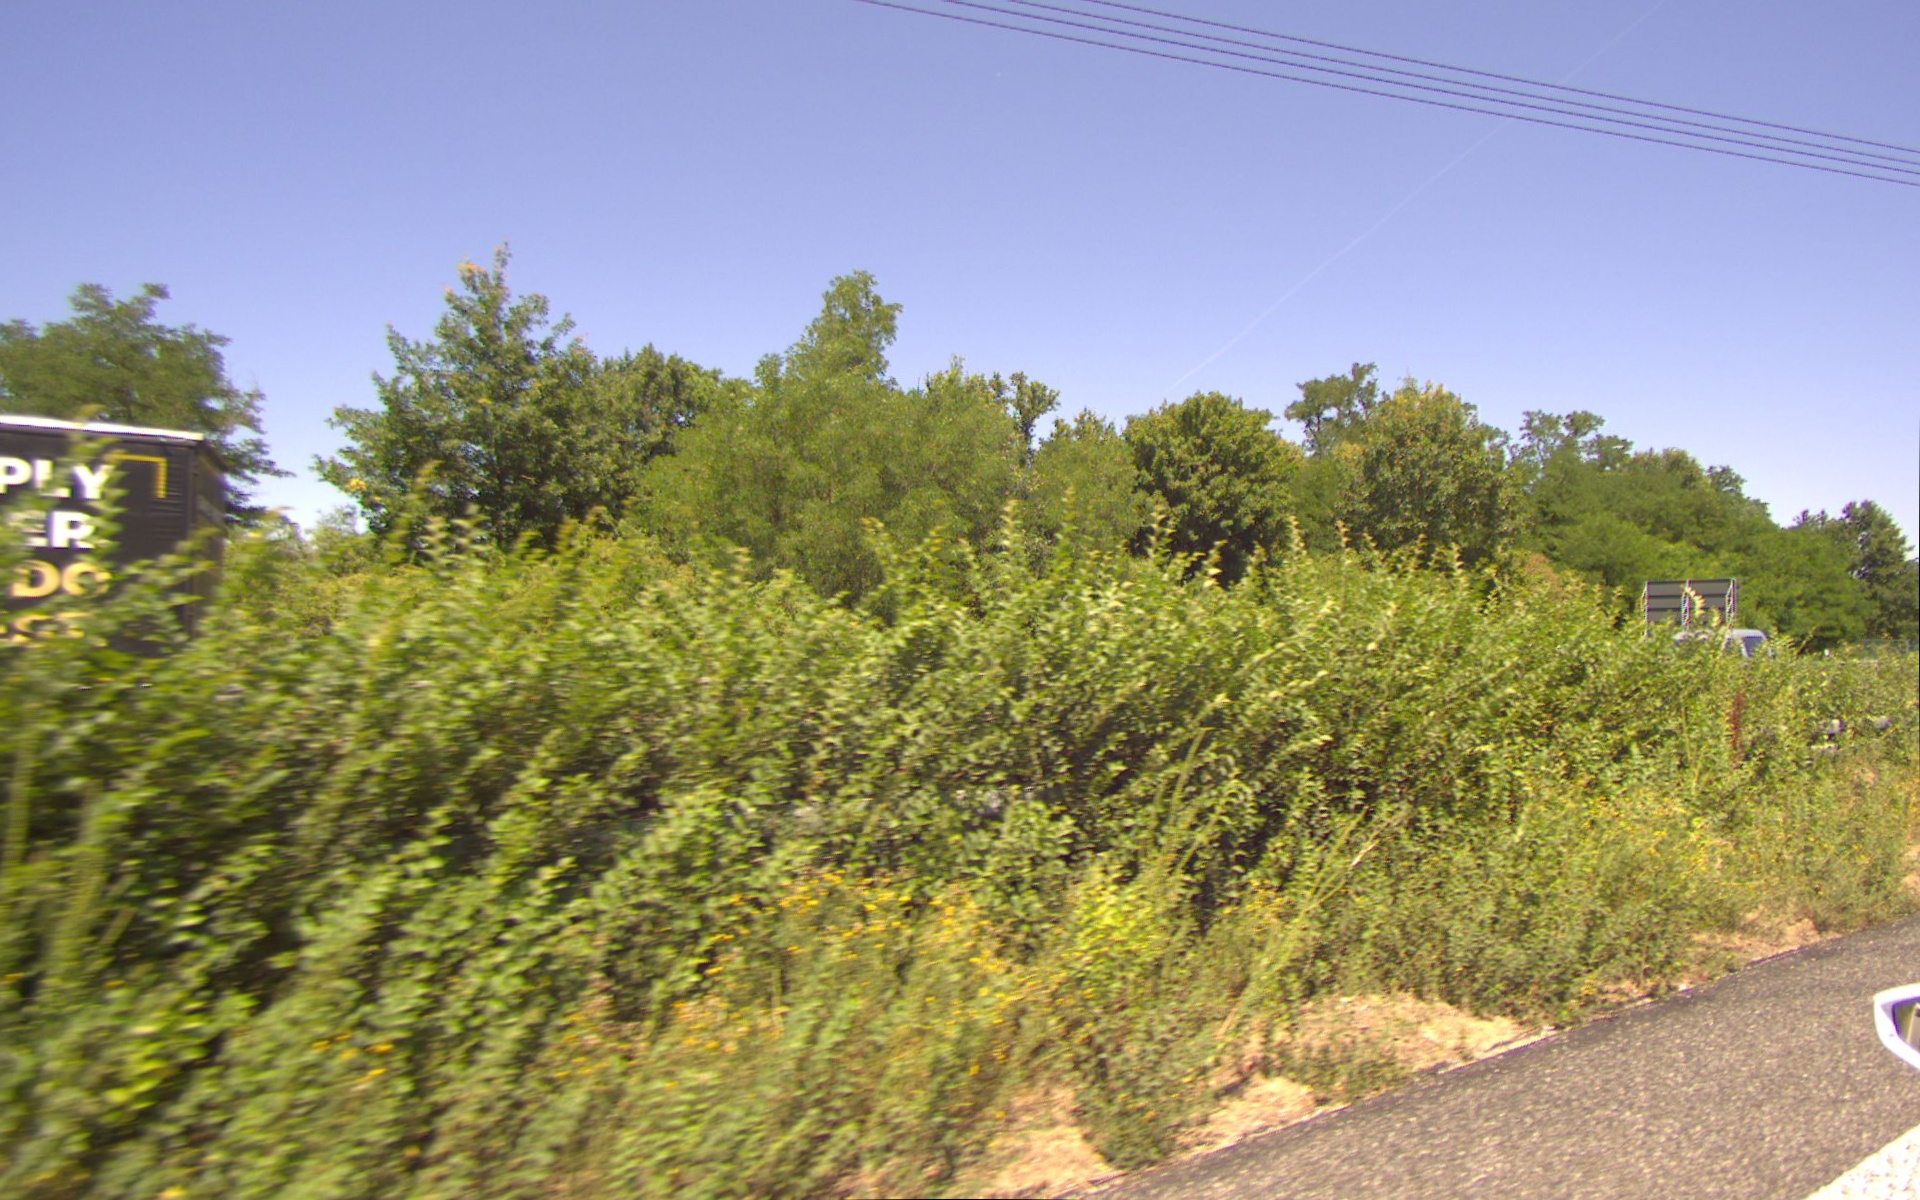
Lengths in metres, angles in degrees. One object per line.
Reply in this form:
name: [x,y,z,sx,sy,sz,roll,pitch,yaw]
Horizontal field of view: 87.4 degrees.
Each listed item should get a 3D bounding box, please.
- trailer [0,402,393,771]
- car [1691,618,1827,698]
trailer: [-12.570,-0.146,11.821,10.178,4.149,2.754,2,-3,-31]
car: [21.624,1.542,27.177,3.546,2.040,1.725,2,-2,-30]
